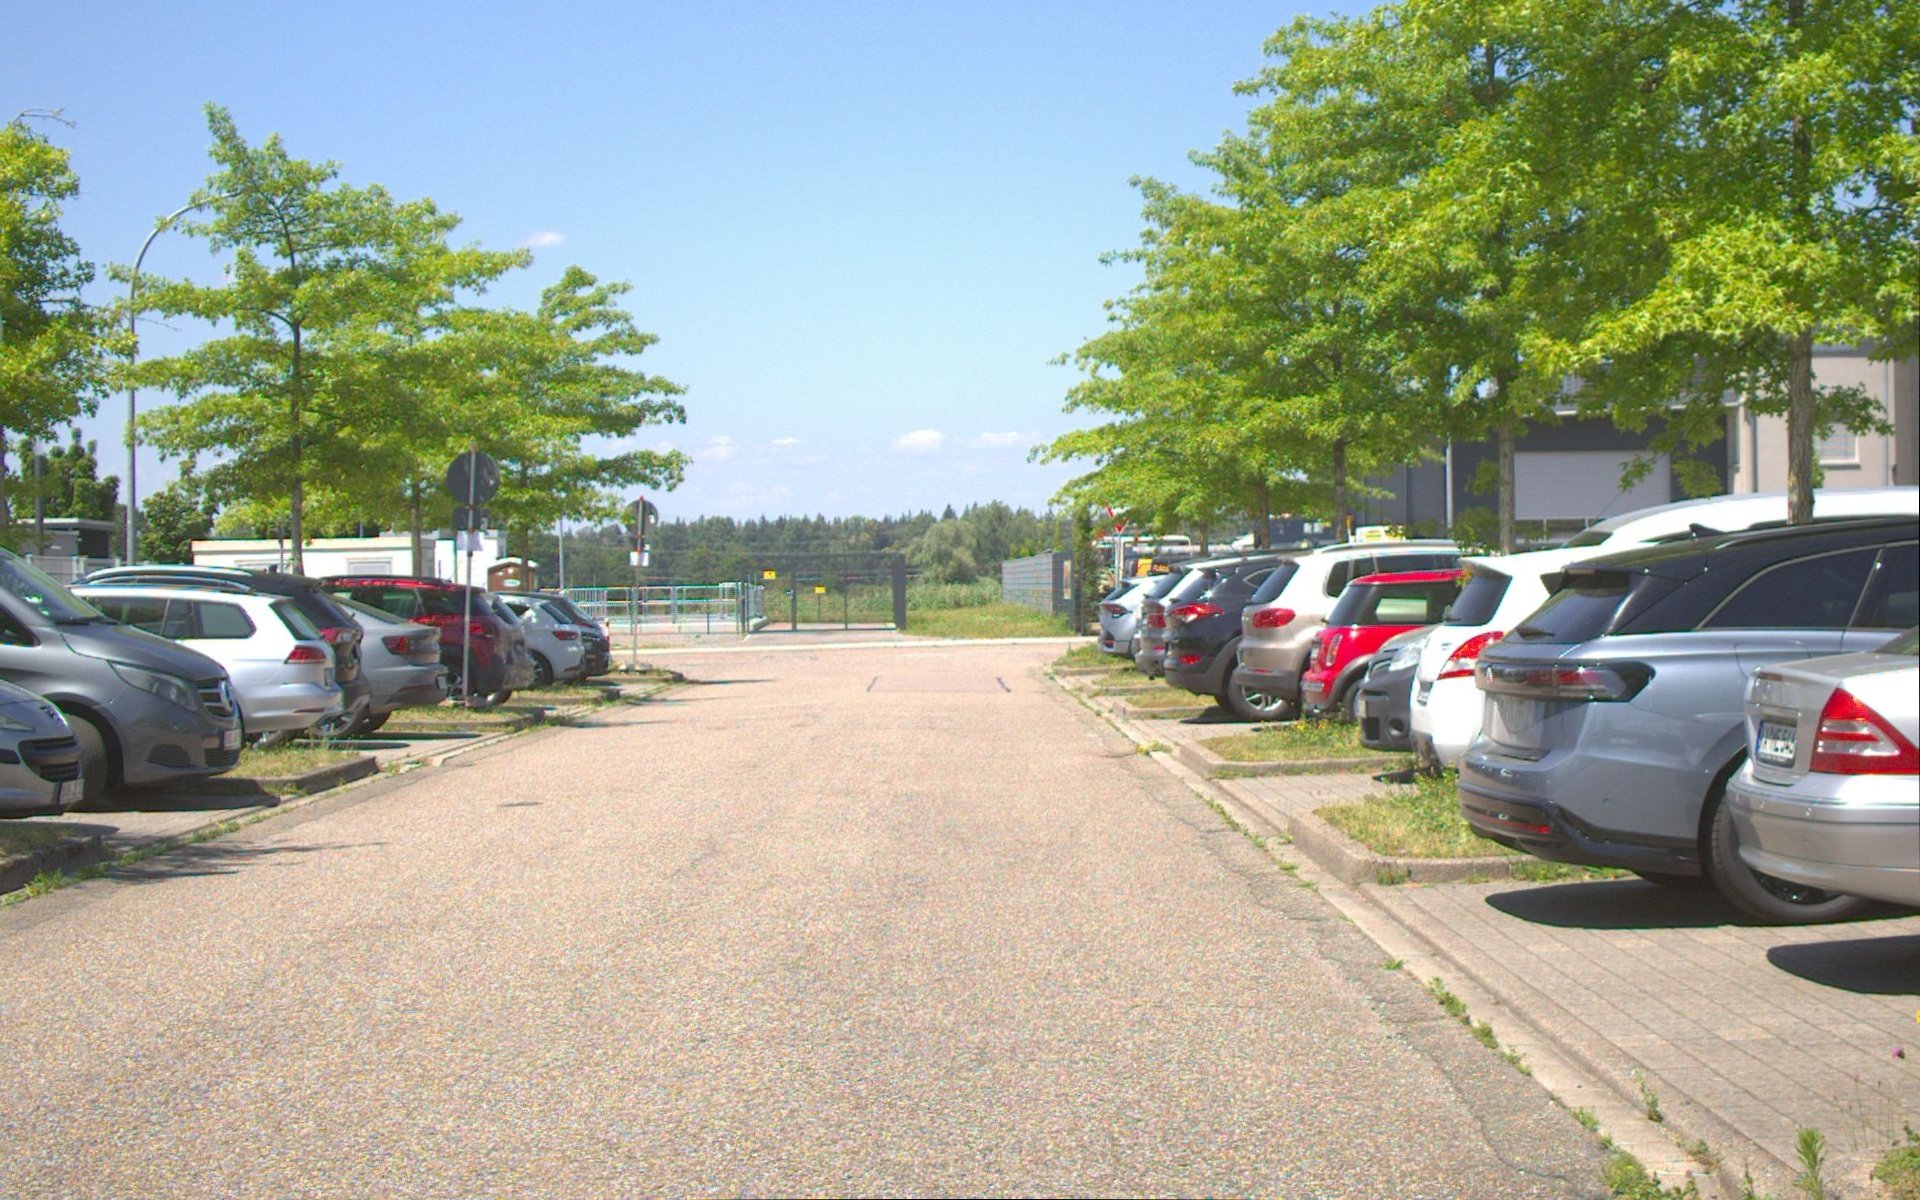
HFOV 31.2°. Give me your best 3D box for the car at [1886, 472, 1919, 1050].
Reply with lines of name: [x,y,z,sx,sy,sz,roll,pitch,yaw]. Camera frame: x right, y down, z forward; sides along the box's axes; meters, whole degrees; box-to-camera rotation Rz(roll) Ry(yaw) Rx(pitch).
car: [4.681,0.377,8.901,4.047,1.619,1.693,-2,0,0]

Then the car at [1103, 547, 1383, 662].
car: [4.506,0.070,55.235,4.279,1.638,1.851,-2,0,0]

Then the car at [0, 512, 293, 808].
car: [-7.236,0.358,23.142,5.070,1.885,1.997,1,0,1]

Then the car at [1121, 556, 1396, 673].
car: [4.548,0.208,52.803,3.987,1.638,1.838,-2,0,-1]

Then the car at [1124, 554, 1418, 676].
car: [4.497,0.222,50.176,4.068,1.602,1.901,-2,-1,1]

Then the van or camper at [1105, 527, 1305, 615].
van or camper: [6.294,-0.763,88.618,4.936,2.156,2.000,-1,1,-1]

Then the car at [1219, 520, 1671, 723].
car: [4.437,0.186,31.850,3.875,1.672,1.782,-2,0,0]

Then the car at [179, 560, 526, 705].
car: [-7.116,0.369,40.537,3.737,1.616,1.816,1,0,0]

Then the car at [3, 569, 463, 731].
car: [-7.191,0.484,34.275,4.193,1.475,1.713,1,0,0]

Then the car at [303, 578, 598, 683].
car: [-7.359,0.429,49.967,4.075,1.419,1.874,1,0,-4]

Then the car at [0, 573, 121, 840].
car: [-7.147,0.553,20.206,3.968,1.479,1.764,1,0,0]

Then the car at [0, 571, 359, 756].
car: [-7.234,0.509,29.109,4.036,1.456,1.604,1,0,-3]

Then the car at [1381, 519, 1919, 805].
car: [4.430,0.333,20.329,3.631,1.498,1.676,-2,0,1]

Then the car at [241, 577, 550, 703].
car: [-7.045,0.486,43.153,3.656,1.503,1.731,1,0,-4]

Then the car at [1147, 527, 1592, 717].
car: [4.062,0.211,34.557,4.173,1.690,1.782,-2,0,-1]

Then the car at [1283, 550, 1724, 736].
car: [4.628,0.351,29.626,3.457,1.412,1.755,-2,0,-1]

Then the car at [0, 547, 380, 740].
car: [-7.479,0.382,31.872,3.986,1.673,1.777,1,0,-5]

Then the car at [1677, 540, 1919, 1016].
car: [4.599,0.466,11.398,4.047,1.448,1.645,-2,0,0]

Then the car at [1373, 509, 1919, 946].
car: [4.214,0.402,13.905,4.715,1.555,1.914,-2,0,-4]

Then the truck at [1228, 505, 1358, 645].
truck: [9.674,-0.742,100.555,2.921,3.916,6.936,-1,0,-1]

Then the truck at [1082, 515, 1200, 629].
truck: [5.019,-0.788,96.378,2.726,3.051,6.936,-1,0,-1]

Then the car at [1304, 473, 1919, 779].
car: [4.643,0.154,23.201,4.403,1.824,1.795,-2,0,1]

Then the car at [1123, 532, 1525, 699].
car: [4.271,0.166,40.868,4.448,1.762,1.993,-2,0,-2]

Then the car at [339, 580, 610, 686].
car: [-7.365,0.494,52.434,3.927,1.515,1.785,1,0,-3]
